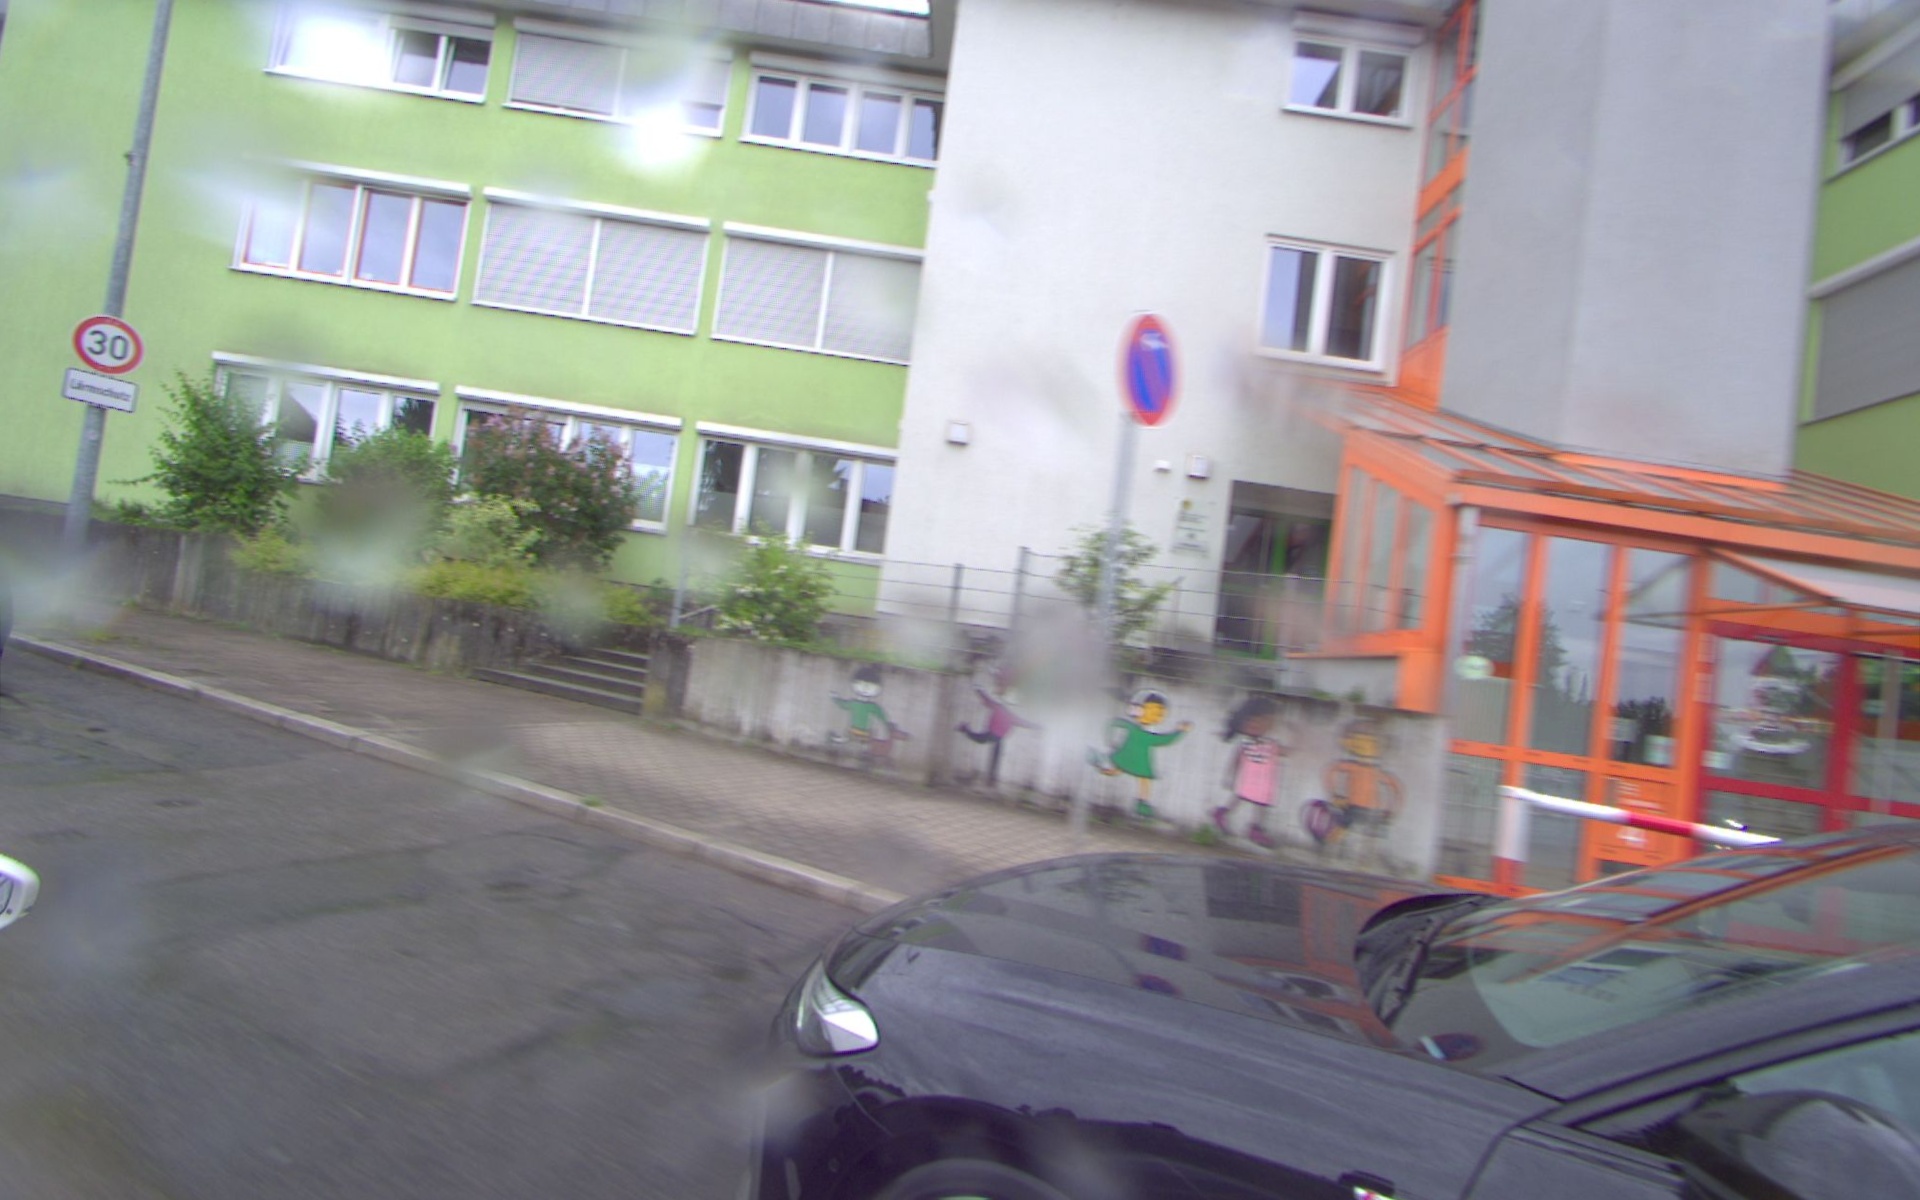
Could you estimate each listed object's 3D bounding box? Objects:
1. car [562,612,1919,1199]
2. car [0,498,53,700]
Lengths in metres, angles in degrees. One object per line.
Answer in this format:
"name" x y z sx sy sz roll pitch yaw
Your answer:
"car" 1.729 1.024 1.508 4.661 1.440 1.870 5 -3 32
"car" -9.045 -0.301 7.604 3.928 1.466 1.762 8 -2 25
